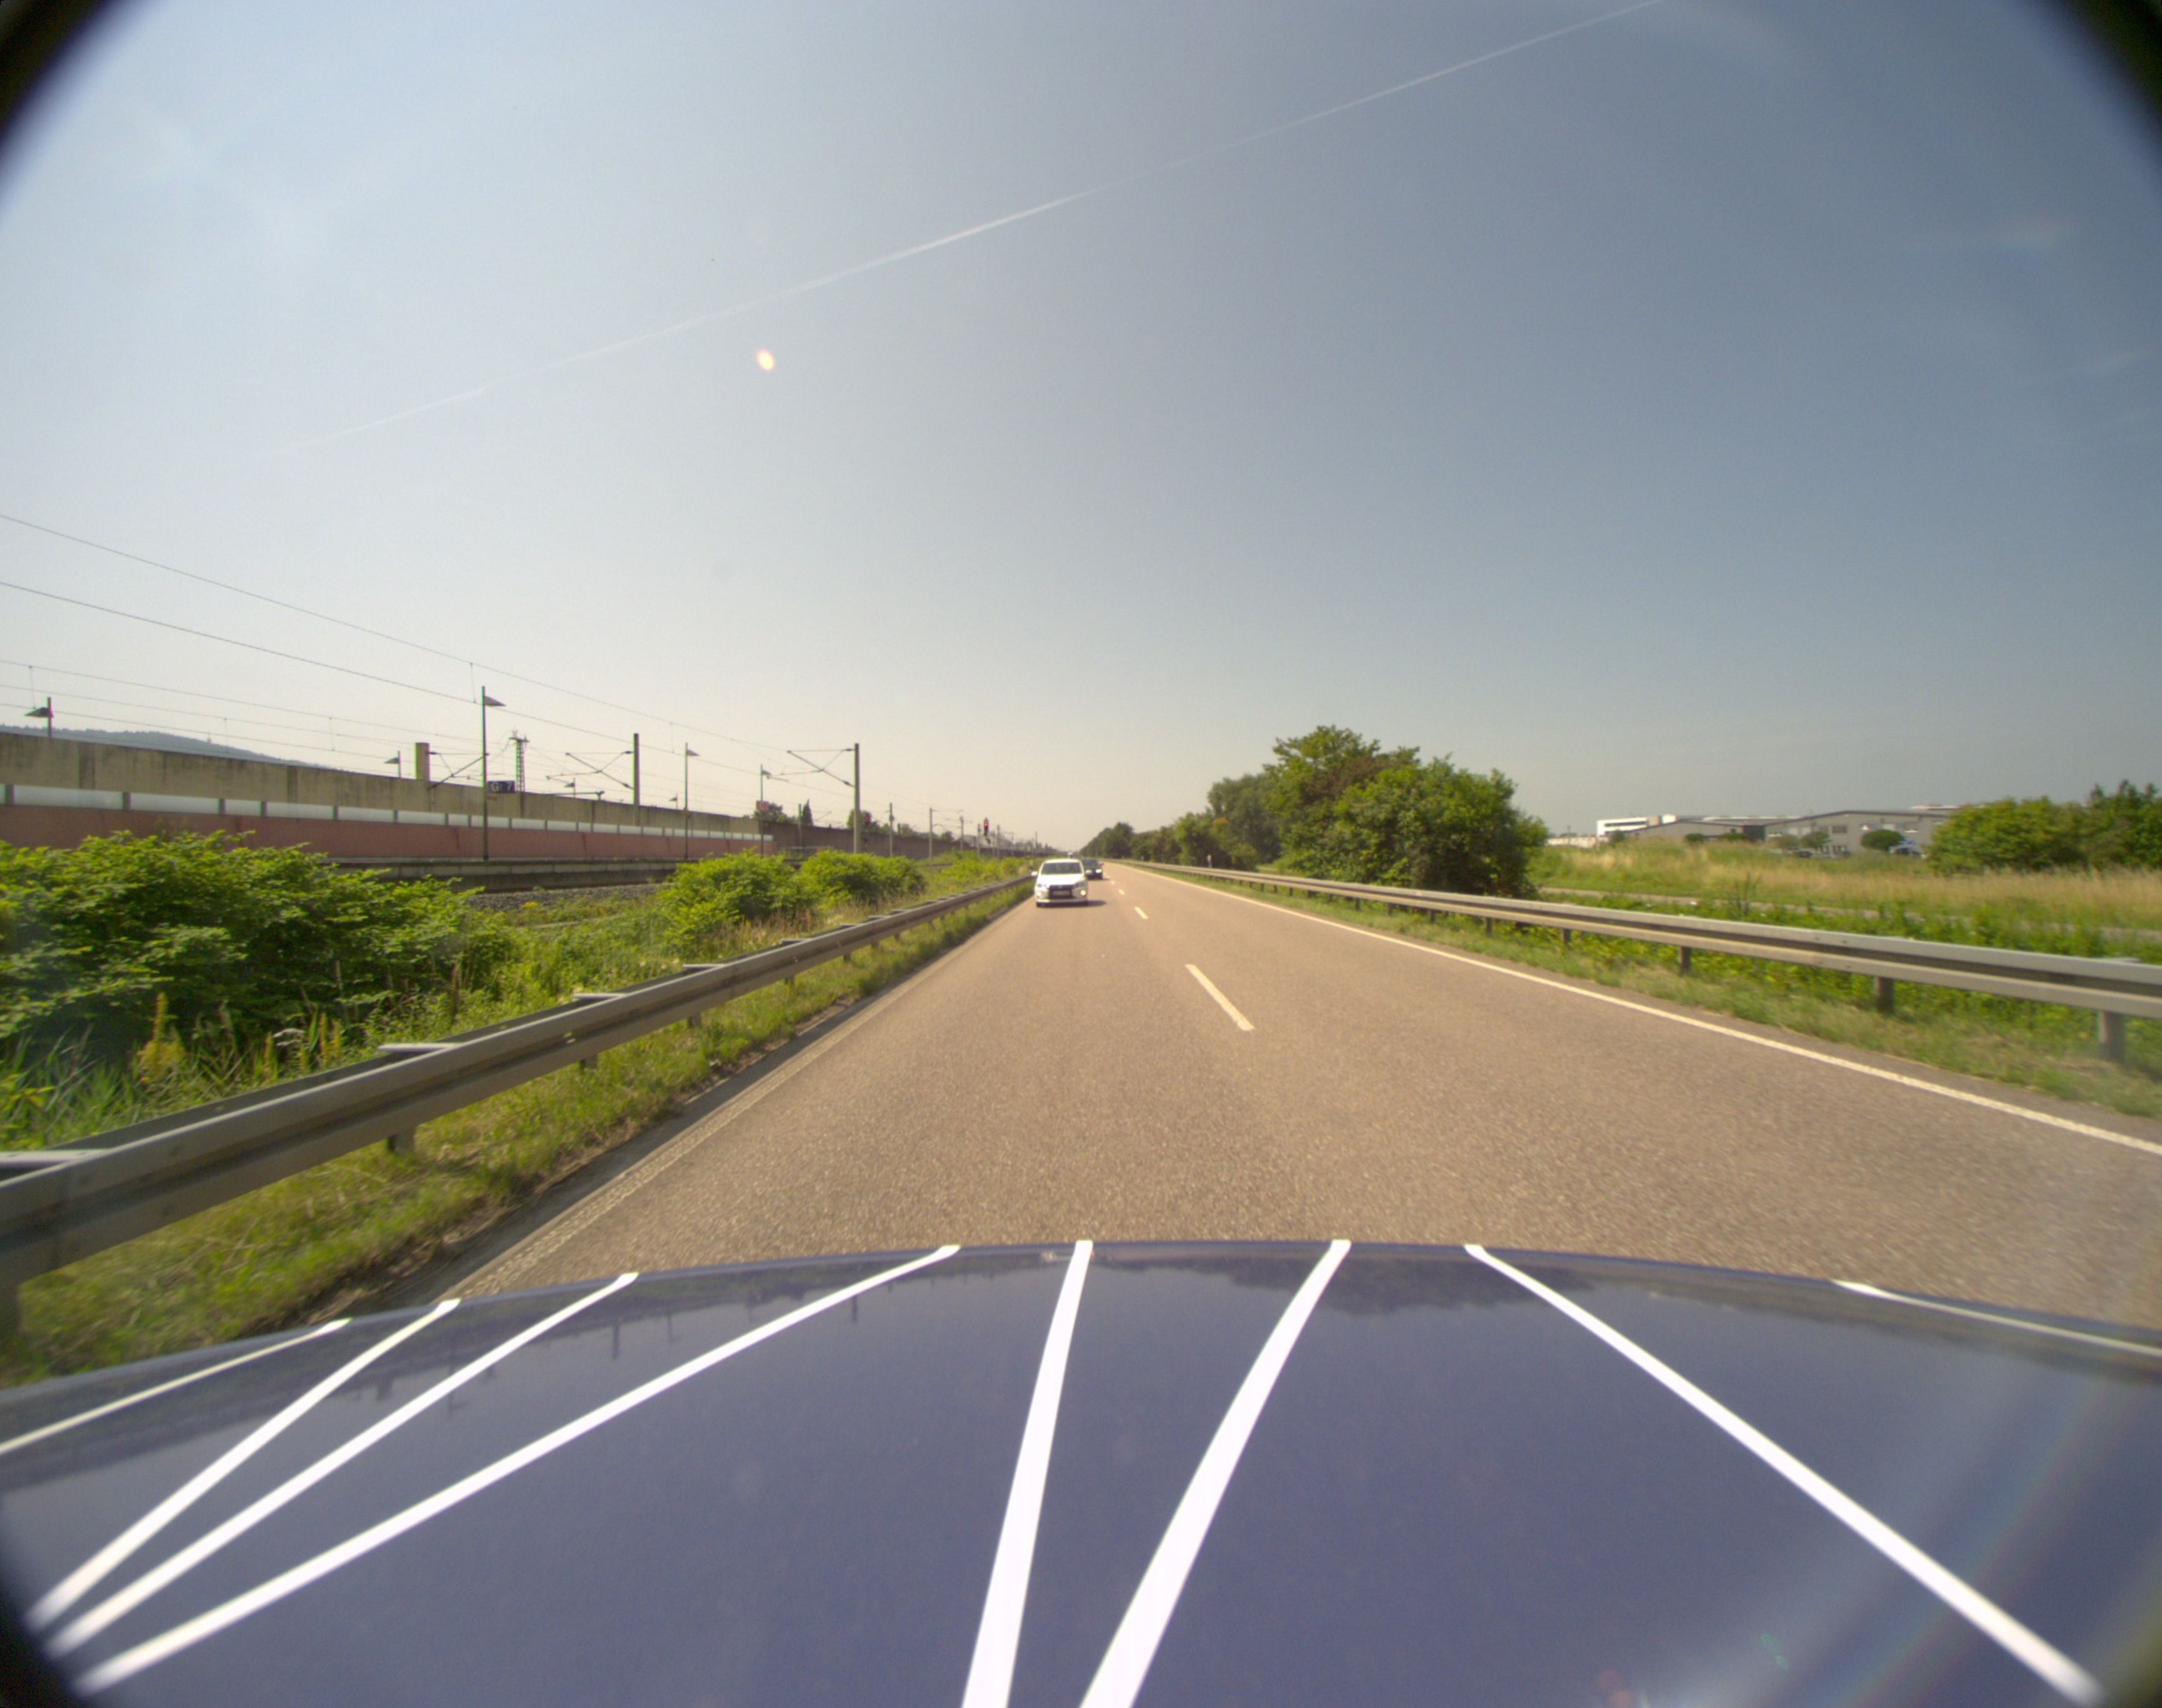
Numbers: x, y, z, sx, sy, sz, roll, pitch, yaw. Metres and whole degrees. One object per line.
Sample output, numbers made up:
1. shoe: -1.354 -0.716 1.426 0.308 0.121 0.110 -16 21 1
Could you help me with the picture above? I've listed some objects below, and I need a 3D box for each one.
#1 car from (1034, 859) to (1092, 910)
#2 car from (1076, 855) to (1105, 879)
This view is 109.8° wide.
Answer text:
1. car: -0.601 0.937 25.160 1.701 1.470 4.154 -2 0 -1
2. car: 0.592 0.820 50.353 1.711 1.470 4.154 -2 0 -1
